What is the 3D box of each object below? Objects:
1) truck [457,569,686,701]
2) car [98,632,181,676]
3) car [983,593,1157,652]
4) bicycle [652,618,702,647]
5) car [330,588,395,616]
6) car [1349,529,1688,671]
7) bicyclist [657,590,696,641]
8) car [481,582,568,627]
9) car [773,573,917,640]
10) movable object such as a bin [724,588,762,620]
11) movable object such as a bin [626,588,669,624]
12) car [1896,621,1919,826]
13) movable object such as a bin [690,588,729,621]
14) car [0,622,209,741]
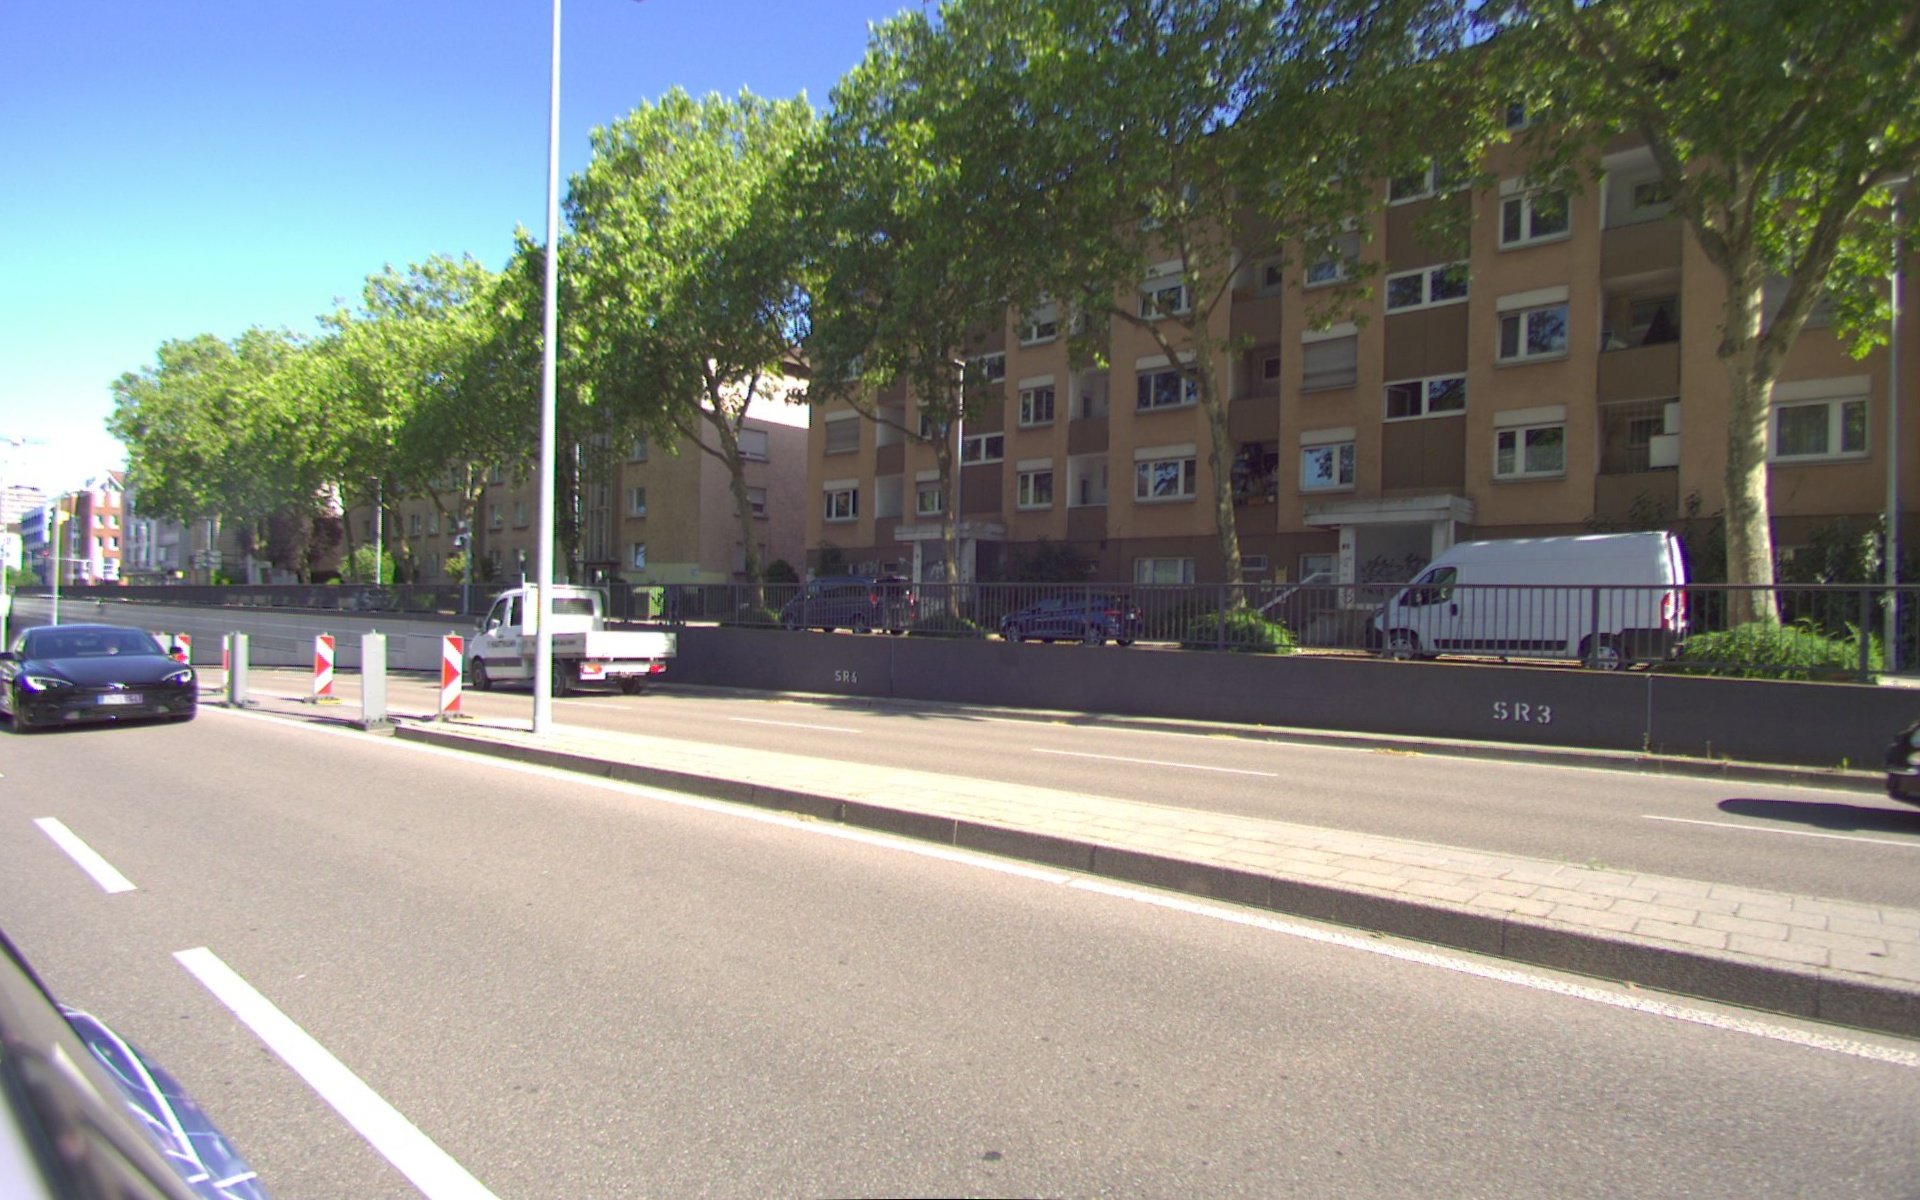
[{"bbox_3d":[-8.776,0.809,22.509,6.127,2.547,2.205,-2,-4,42],"label":"truck"},{"bbox_3d":[-29.036,1.908,35.787,3.606,1.469,1.592,-2,-5,40],"label":"car"},{"bbox_3d":[2.840,0.549,26.588,4.170,1.399,1.973,-1,0,41],"label":"car"},{"bbox_3d":[-9.336,1.056,33.352,1.756,0.934,0.650,-1,0,38],"label":"bicycle"},{"bbox_3d":[-35.133,0.129,59.448,4.300,1.596,1.902,-1,0,39],"label":"car"},{"bbox_3d":[10.562,0.008,19.472,5.418,2.377,1.972,-1,0,42],"label":"car"},{"bbox_3d":[-9.356,0.500,33.361,1.021,1.645,0.767,-1,0,38],"label":"bicyclist"},{"bbox_3d":[-20.121,0.182,46.685,4.412,1.975,1.945,-1,0,41],"label":"car"},{"bbox_3d":[-3.691,0.190,32.094,4.523,1.975,1.946,-1,0,39],"label":"car"},{"bbox_3d":[-10.338,0.185,48.230,1.146,1.495,1.300,-1,0,38],"label":"movable object such as a bin"},{"bbox_3d":[-13.580,0.254,43.968,1.354,1.495,1.196,-1,0,33],"label":"movable object such as a bin"},{"bbox_3d":[8.639,0.915,6.703,3.494,1.456,1.575,-1,-4,41],"label":"car"},{"bbox_3d":[-11.643,0.218,47.057,1.146,1.495,1.300,-1,0,38],"label":"movable object such as a bin"},{"bbox_3d":[-12.612,1.091,14.661,3.998,1.426,1.973,-2,-1,41],"label":"car"}]
